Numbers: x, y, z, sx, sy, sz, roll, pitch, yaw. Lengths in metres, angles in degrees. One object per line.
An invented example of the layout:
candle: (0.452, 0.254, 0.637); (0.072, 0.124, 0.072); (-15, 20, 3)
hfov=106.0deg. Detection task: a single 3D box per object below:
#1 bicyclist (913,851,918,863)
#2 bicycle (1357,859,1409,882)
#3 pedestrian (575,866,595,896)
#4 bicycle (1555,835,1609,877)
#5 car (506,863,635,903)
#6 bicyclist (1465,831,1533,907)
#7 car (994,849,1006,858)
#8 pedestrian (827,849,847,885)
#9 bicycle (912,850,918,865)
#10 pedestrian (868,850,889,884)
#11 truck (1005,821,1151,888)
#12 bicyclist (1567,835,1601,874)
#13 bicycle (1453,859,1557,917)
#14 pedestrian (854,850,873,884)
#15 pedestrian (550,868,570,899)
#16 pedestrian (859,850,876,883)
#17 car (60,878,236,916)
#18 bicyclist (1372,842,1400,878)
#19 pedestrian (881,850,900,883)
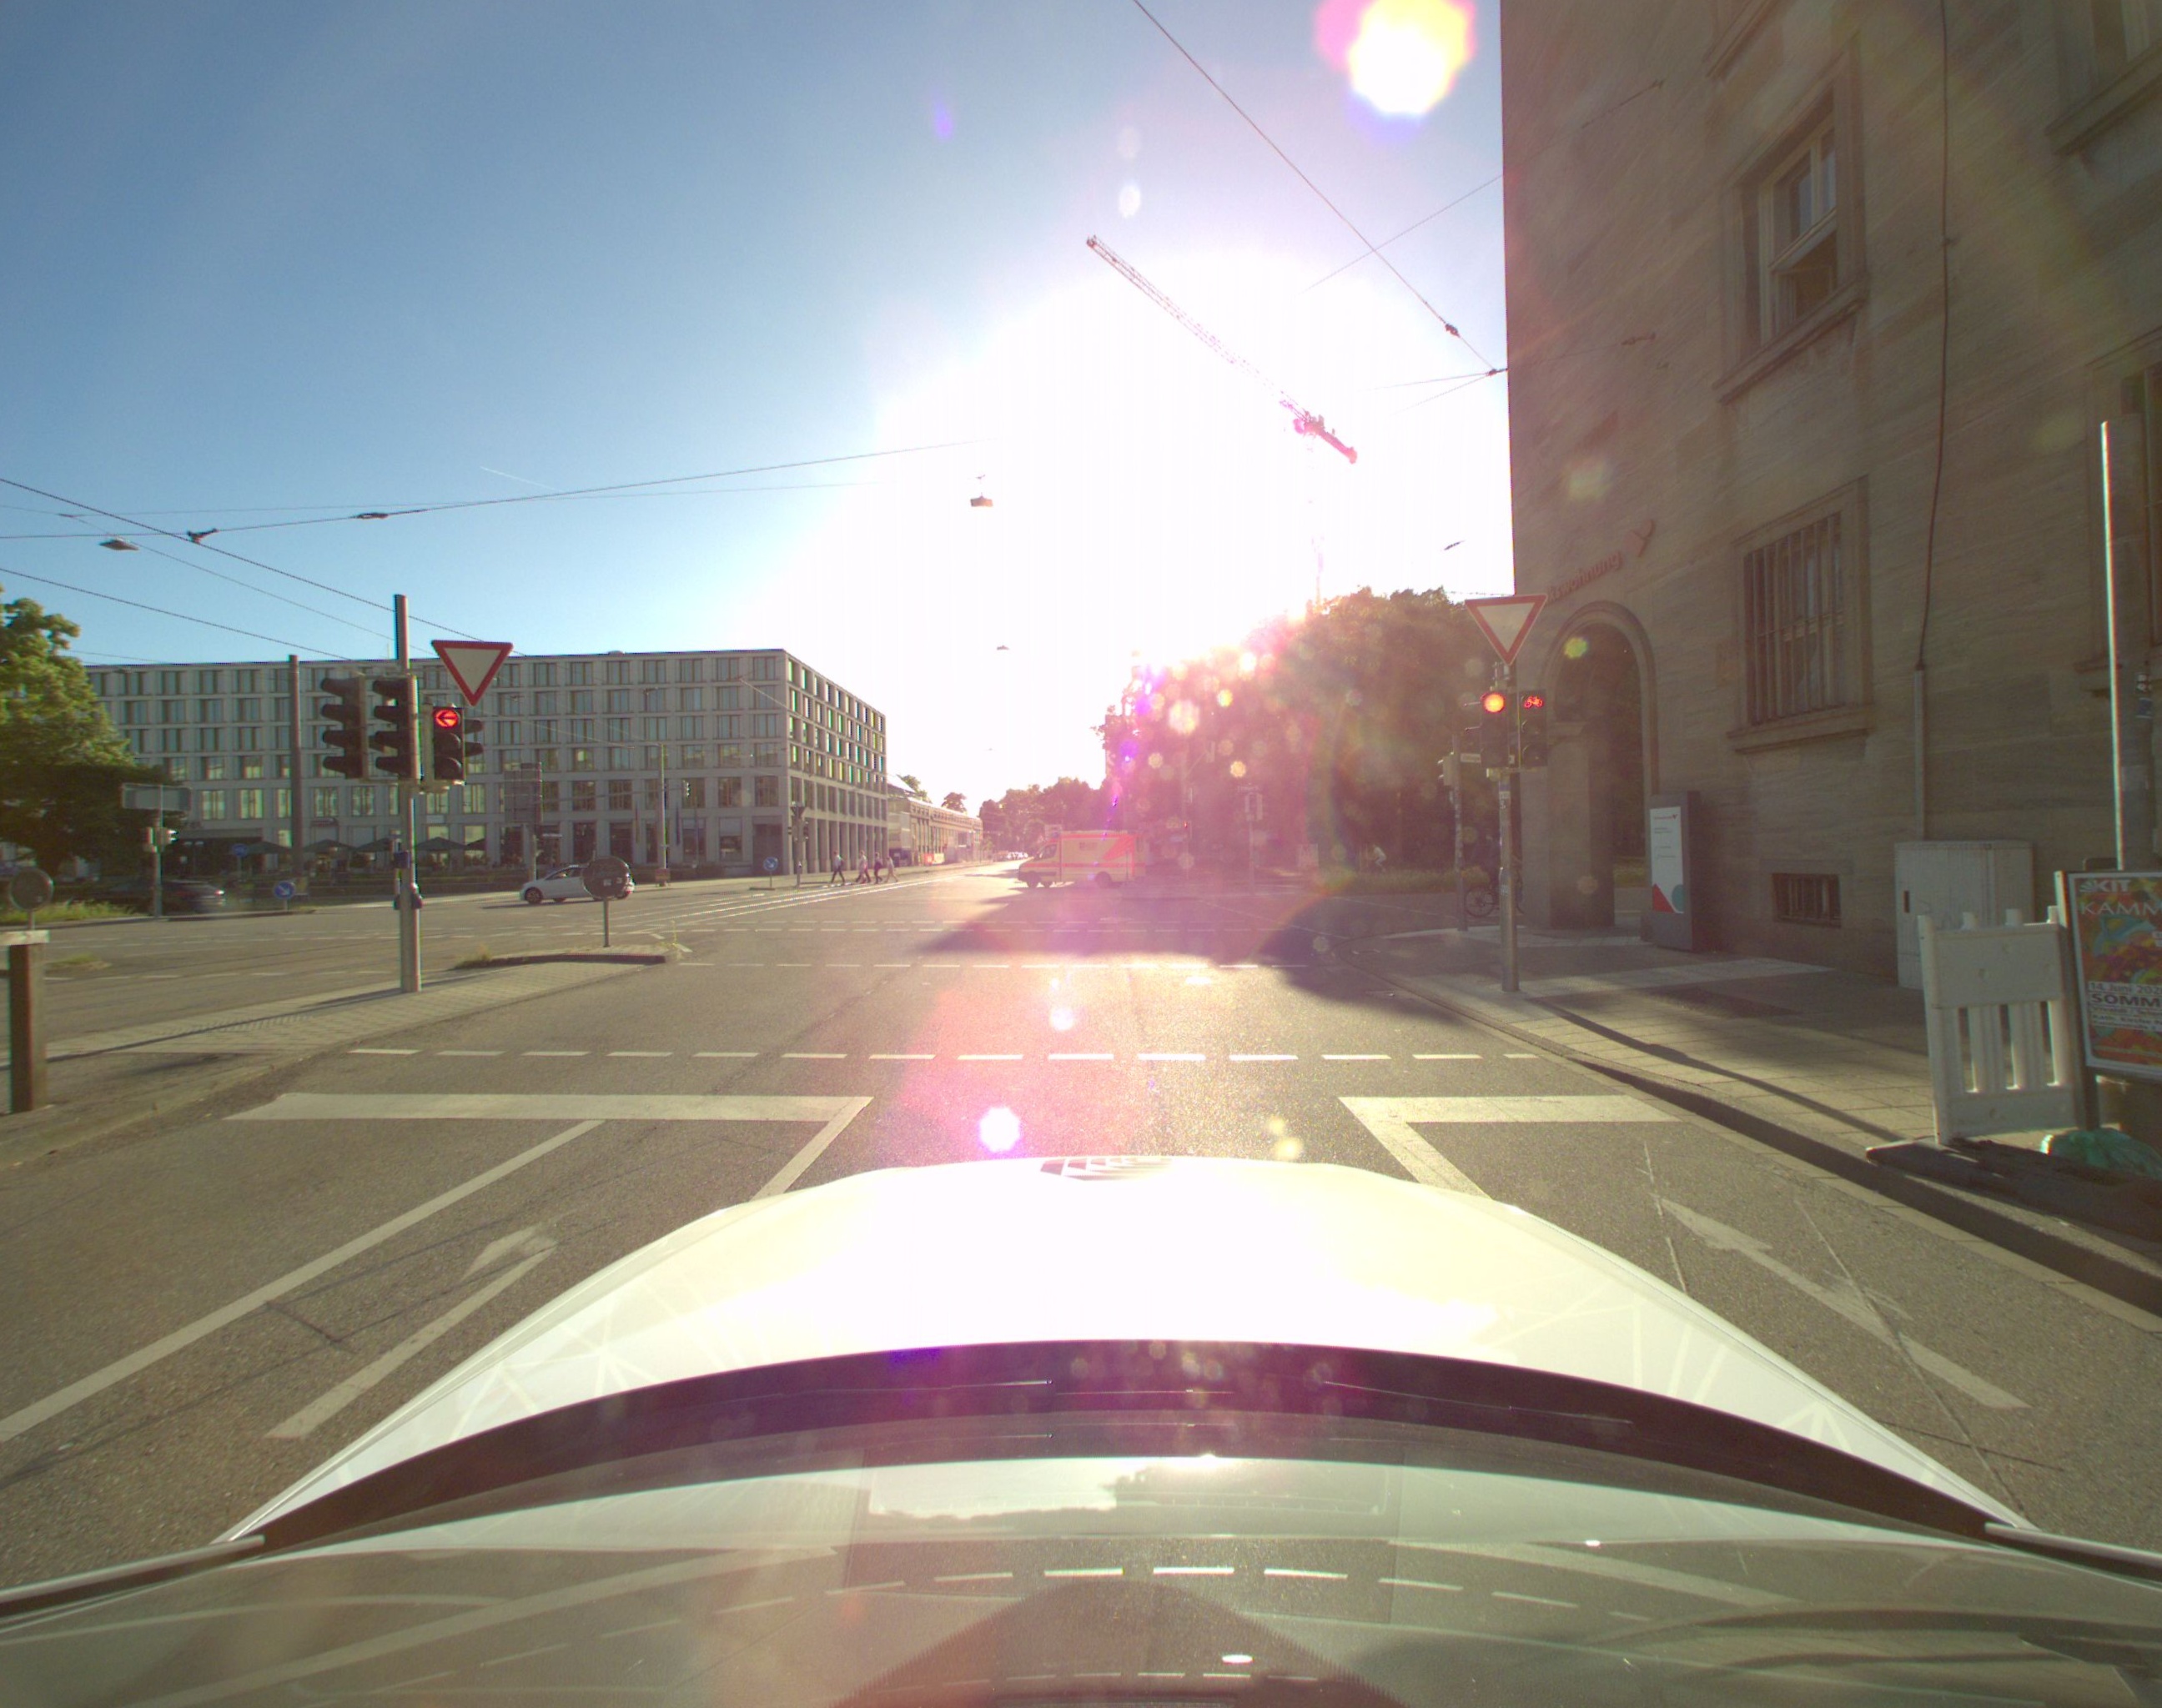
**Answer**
bicyclist: (-26.584, 0.461, 130.734); (0.569, 2.024, 0.762); (-2, 0, 0)
bicycle: (13.249, 0.721, 35.801); (2.058, 0.933, 0.574); (-2, 0, -1)
pedestrian: (-27.678, 1.479, 45.409); (0.692, 1.644, 0.621); (-2, 0, -3)
bicycle: (21.762, 0.097, 35.404); (1.888, 1.735, 0.598); (-2, 0, 5)
car: (-20.317, 1.140, 32.528); (4.033, 1.434, 1.630); (-2, -1, -3)
bicyclist: (9.106, 0.320, 17.762); (1.117, 1.594, 0.768); (-1, 2, 8)
car: (-15.637, -0.058, 156.985); (1.888, 1.607, 4.499); (-2, 0, 0)
pedestrian: (-13.233, 0.698, 44.222); (0.797, 1.918, 0.638); (-2, 0, 7)
bicycle: (-26.576, 0.567, 130.699); (0.569, 2.296, 1.422); (-2, 0, 0)
pedestrian: (-11.072, 0.690, 44.472); (0.865, 1.803, 0.665); (-2, 0, 7)
truck: (-0.119, 0.052, 39.458); (6.414, 3.016, 2.739); (-1, 0, 19)
bicyclist: (21.841, 0.019, 35.393); (1.069, 1.641, 0.598); (-2, 0, 5)
bicycle: (9.215, 0.731, 17.758); (1.862, 1.158, 0.768); (-1, 2, 8)
pedestrian: (-12.027, 0.711, 45.036); (0.735, 1.803, 0.717); (-2, 0, 7)
pedestrian: (-28.453, 1.598, 44.482); (0.688, 1.644, 0.624); (-2, 0, 18)
pedestrian: (-12.066, 0.706, 45.983); (0.735, 1.803, 0.533); (-2, 0, 7)
car: (-37.784, 1.723, 33.094); (4.721, 1.415, 1.999); (-1, -2, -1)
bicyclist: (13.392, 0.253, 35.820); (0.971, 1.560, 0.575); (-2, 0, 0)
pedestrian: (-10.677, 0.684, 45.645); (0.865, 1.803, 0.533); (-2, 0, 7)
